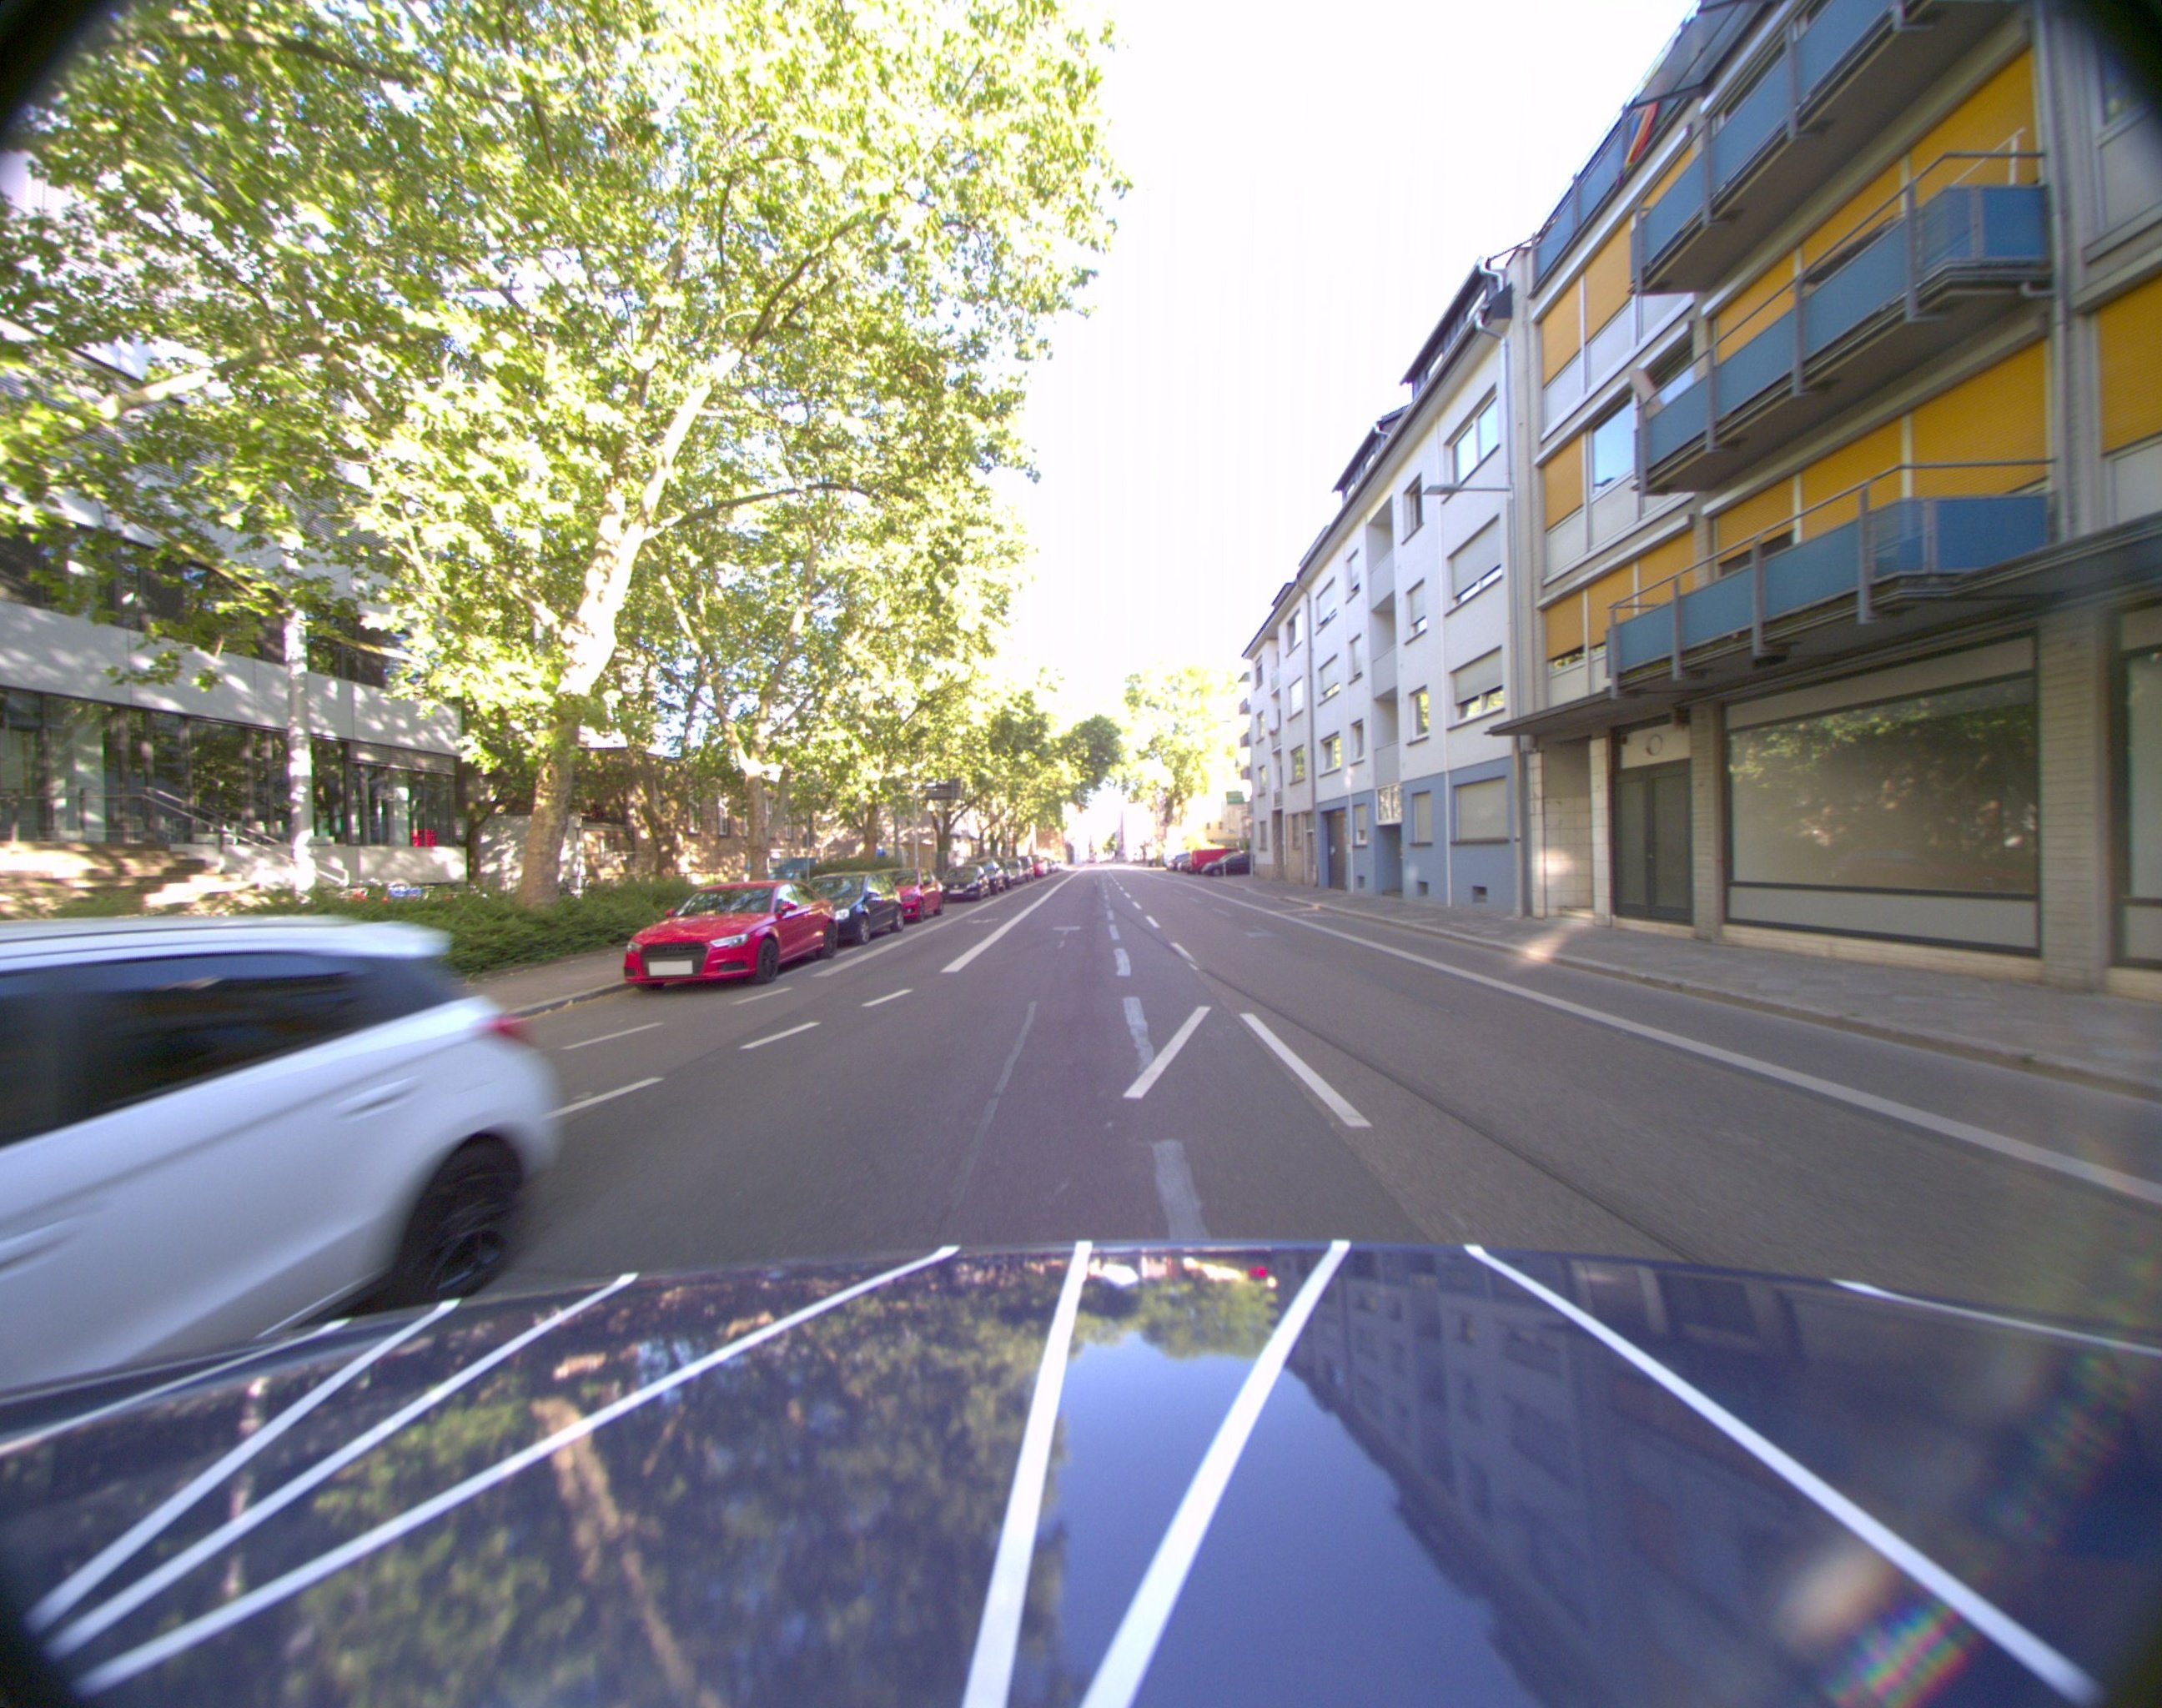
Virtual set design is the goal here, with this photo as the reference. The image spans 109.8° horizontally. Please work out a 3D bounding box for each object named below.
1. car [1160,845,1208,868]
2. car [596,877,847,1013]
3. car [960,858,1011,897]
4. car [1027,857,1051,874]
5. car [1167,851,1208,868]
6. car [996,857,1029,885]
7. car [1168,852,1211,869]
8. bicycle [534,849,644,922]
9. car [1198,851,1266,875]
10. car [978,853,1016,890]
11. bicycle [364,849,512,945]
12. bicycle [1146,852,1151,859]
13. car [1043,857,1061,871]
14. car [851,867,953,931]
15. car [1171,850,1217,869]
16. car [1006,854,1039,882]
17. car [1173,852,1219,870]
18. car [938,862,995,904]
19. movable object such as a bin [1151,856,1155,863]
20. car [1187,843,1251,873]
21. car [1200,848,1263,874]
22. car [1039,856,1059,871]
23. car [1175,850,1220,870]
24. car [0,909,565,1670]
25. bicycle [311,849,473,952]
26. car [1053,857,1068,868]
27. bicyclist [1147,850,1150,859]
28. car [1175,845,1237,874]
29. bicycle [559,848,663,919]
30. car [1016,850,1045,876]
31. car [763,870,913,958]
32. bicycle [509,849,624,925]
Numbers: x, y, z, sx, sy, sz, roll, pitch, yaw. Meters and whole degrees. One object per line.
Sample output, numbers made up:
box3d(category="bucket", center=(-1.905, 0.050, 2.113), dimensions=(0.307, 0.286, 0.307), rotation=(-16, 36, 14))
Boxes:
box3d(category="car", center=(11.263, 0.252, 83.211), dimensions=(4.856, 2.204, 2.140), rotation=(-3, 0, 1))
box3d(category="car", center=(-5.130, 1.191, 11.622), dimensions=(1.697, 1.441, 4.435), rotation=(-3, 0, -1))
box3d(category="car", center=(-4.462, 1.045, 36.193), dimensions=(1.780, 1.618, 4.620), rotation=(-3, 0, 0))
box3d(category="car", center=(-3.810, 1.030, 69.376), dimensions=(1.641, 1.476, 3.760), rotation=(-3, 0, 3))
box3d(category="car", center=(10.978, 0.592, 78.587), dimensions=(3.997, 1.550, 1.853), rotation=(-3, 0, 1))
box3d(category="car", center=(-4.356, 1.048, 48.692), dimensions=(1.697, 1.618, 4.329), rotation=(-3, 0, -1))
box3d(category="car", center=(10.903, 0.657, 76.461), dimensions=(3.997, 1.424, 1.853), rotation=(-3, 0, 1))
box3d(category="bicycle", center=(-14.008, 0.878, 21.672), dimensions=(2.604, 2.002, 0.742), rotation=(-1, 1, 1))
box3d(category="car", center=(10.426, 0.596, 52.709), dimensions=(4.239, 1.372, 2.046), rotation=(-3, 1, 1))
box3d(category="car", center=(-4.651, 0.937, 41.898), dimensions=(1.830, 1.830, 4.896), rotation=(-4, 0, -7))
box3d(category="bicycle", center=(-14.072, 0.925, 16.668), dimensions=(2.604, 2.002, 0.742), rotation=(-1, 1, 1))
box3d(category="bicycle", center=(12.137, 0.255, 136.605), dimensions=(0.608, 1.232, 2.050), rotation=(0, 0, 1))
box3d(category="car", center=(-3.384, 1.180, 90.325), dimensions=(1.860, 1.514, 4.297), rotation=(-3, 0, 1))
box3d(category="car", center=(-4.944, 1.194, 21.638), dimensions=(1.697, 1.470, 4.318), rotation=(-3, 0, 1))
box3d(category="car", center=(10.947, 0.501, 73.926), dimensions=(4.204, 1.674, 2.028), rotation=(-3, 0, 1))
box3d(category="car", center=(-4.076, 0.957, 53.299), dimensions=(1.697, 1.802, 4.130), rotation=(-3, 0, 3))
box3d(category="car", center=(10.640, 0.630, 70.526), dimensions=(3.997, 1.447, 1.916), rotation=(-3, 0, 1))
box3d(category="car", center=(-4.587, 1.124, 31.020), dimensions=(1.697, 1.495, 4.020), rotation=(-3, 0, -1))
box3d(category="movable object such as a bin", center=(10.707, 0.806, 113.112), dimensions=(0.595, 1.065, 0.644), rotation=(-1, 0, 1))
box3d(category="car", center=(10.495, 0.283, 57.928), dimensions=(4.432, 1.940, 2.146), rotation=(-4, 0, 1))
box3d(category="car", center=(10.845, 0.480, 54.992), dimensions=(4.183, 1.554, 1.886), rotation=(-4, 0, 1))
box3d(category="car", center=(-3.535, 1.023, 84.409), dimensions=(1.860, 1.513, 4.599), rotation=(-3, 0, 1))
box3d(category="car", center=(10.441, 0.549, 68.308), dimensions=(3.694, 1.504, 1.831), rotation=(-3, 0, 1))
box3d(category="car", center=(-3.198, 1.042, 1.427), dimensions=(1.682, 1.490, 3.686), rotation=(-3, 1, 4))
box3d(category="bicycle", center=(-14.024, 0.933, 15.500), dimensions=(2.604, 2.002, 0.742), rotation=(-1, 1, 1))
box3d(category="car", center=(-2.784, 1.127, 100.996), dimensions=(1.860, 1.428, 4.969), rotation=(-2, 0, -2))
box3d(category="bicyclist", center=(12.152, 0.041, 136.948), dimensions=(0.608, 1.535, 0.934), rotation=(0, 0, 1))
box3d(category="car", center=(9.974, 0.433, 60.775), dimensions=(4.533, 1.940, 2.057), rotation=(-4, 0, 1))
box3d(category="bicycle", center=(-13.957, 0.867, 22.601), dimensions=(2.604, 2.002, 0.742), rotation=(-1, 1, 1))
box3d(category="car", center=(-4.236, 0.748, 64.566), dimensions=(2.083, 1.982, 5.171), rotation=(-3, 0, -1))
box3d(category="car", center=(-5.018, 1.178, 16.306), dimensions=(1.697, 1.458, 4.066), rotation=(-3, 0, 2))
box3d(category="bicycle", center=(-14.036, 0.887, 20.773), dimensions=(2.604, 2.002, 0.742), rotation=(-1, 1, 1))
